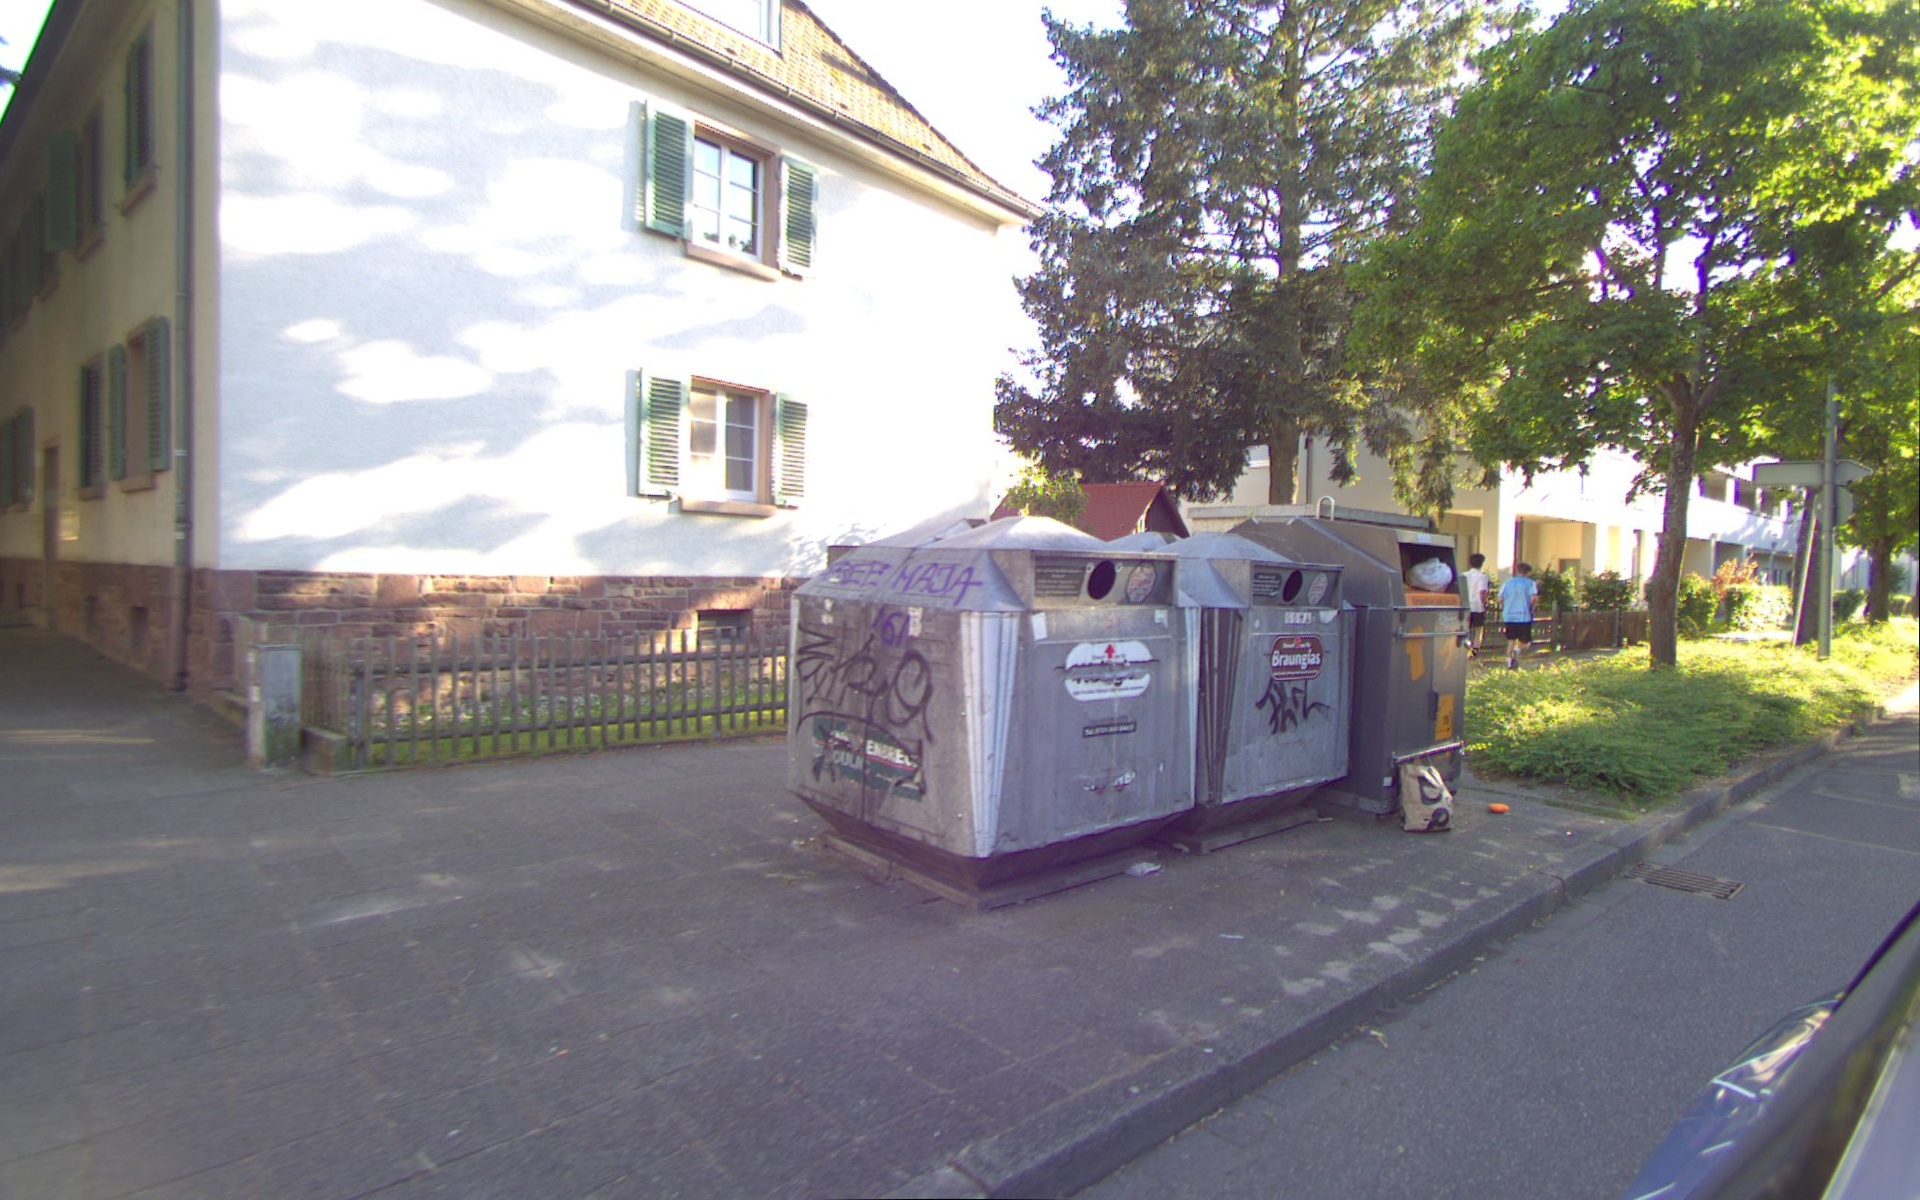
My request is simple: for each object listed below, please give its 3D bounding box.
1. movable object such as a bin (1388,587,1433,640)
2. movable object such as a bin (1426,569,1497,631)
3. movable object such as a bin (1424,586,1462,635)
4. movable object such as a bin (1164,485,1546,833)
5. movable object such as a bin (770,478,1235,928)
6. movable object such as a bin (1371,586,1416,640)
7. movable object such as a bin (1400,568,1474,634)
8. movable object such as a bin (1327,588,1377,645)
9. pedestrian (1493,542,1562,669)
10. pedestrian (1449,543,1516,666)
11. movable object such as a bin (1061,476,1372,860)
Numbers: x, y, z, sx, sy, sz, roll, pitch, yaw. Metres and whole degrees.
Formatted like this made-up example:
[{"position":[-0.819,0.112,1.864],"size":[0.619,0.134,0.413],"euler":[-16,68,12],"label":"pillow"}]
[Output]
[{"position":[9.449,0.275,21.227],"size":[0.630,1.042,0.607],"euler":[0,4,-42],"label":"movable object such as a bin"},{"position":[12.335,-0.023,24.897],"size":[1.343,1.444,1.080],"euler":[-1,4,-42],"label":"movable object such as a bin"},{"position":[10.857,0.228,22.766],"size":[0.604,1.042,0.539],"euler":[0,4,-42],"label":"movable object such as a bin"},{"position":[2.542,0.292,6.644],"size":[1.369,1.876,1.923],"euler":[-1,1,-42],"label":"movable object such as a bin"},{"position":[0.191,0.359,4.911],"size":[1.612,1.678,1.588],"euler":[-1,1,-42],"label":"movable object such as a bin"},{"position":[8.855,0.262,20.677],"size":[0.585,1.042,0.615],"euler":[0,4,-42],"label":"movable object such as a bin"},{"position":[11.280,0.009,23.916],"size":[1.364,1.447,1.080],"euler":[-1,4,-42],"label":"movable object such as a bin"},{"position":[7.546,0.301,19.498],"size":[0.634,1.042,0.644],"euler":[0,4,-42],"label":"movable object such as a bin"},{"position":[8.878,0.077,15.840],"size":[0.880,1.917,0.674],"euler":[0,1,-41],"label":"pedestrian"},{"position":[8.482,0.060,16.426],"size":[1.001,1.917,0.643],"euler":[0,1,-41],"label":"pedestrian"},{"position":[1.462,0.308,5.758],"size":[1.362,1.850,1.149],"euler":[-1,1,-42],"label":"movable object such as a bin"}]
